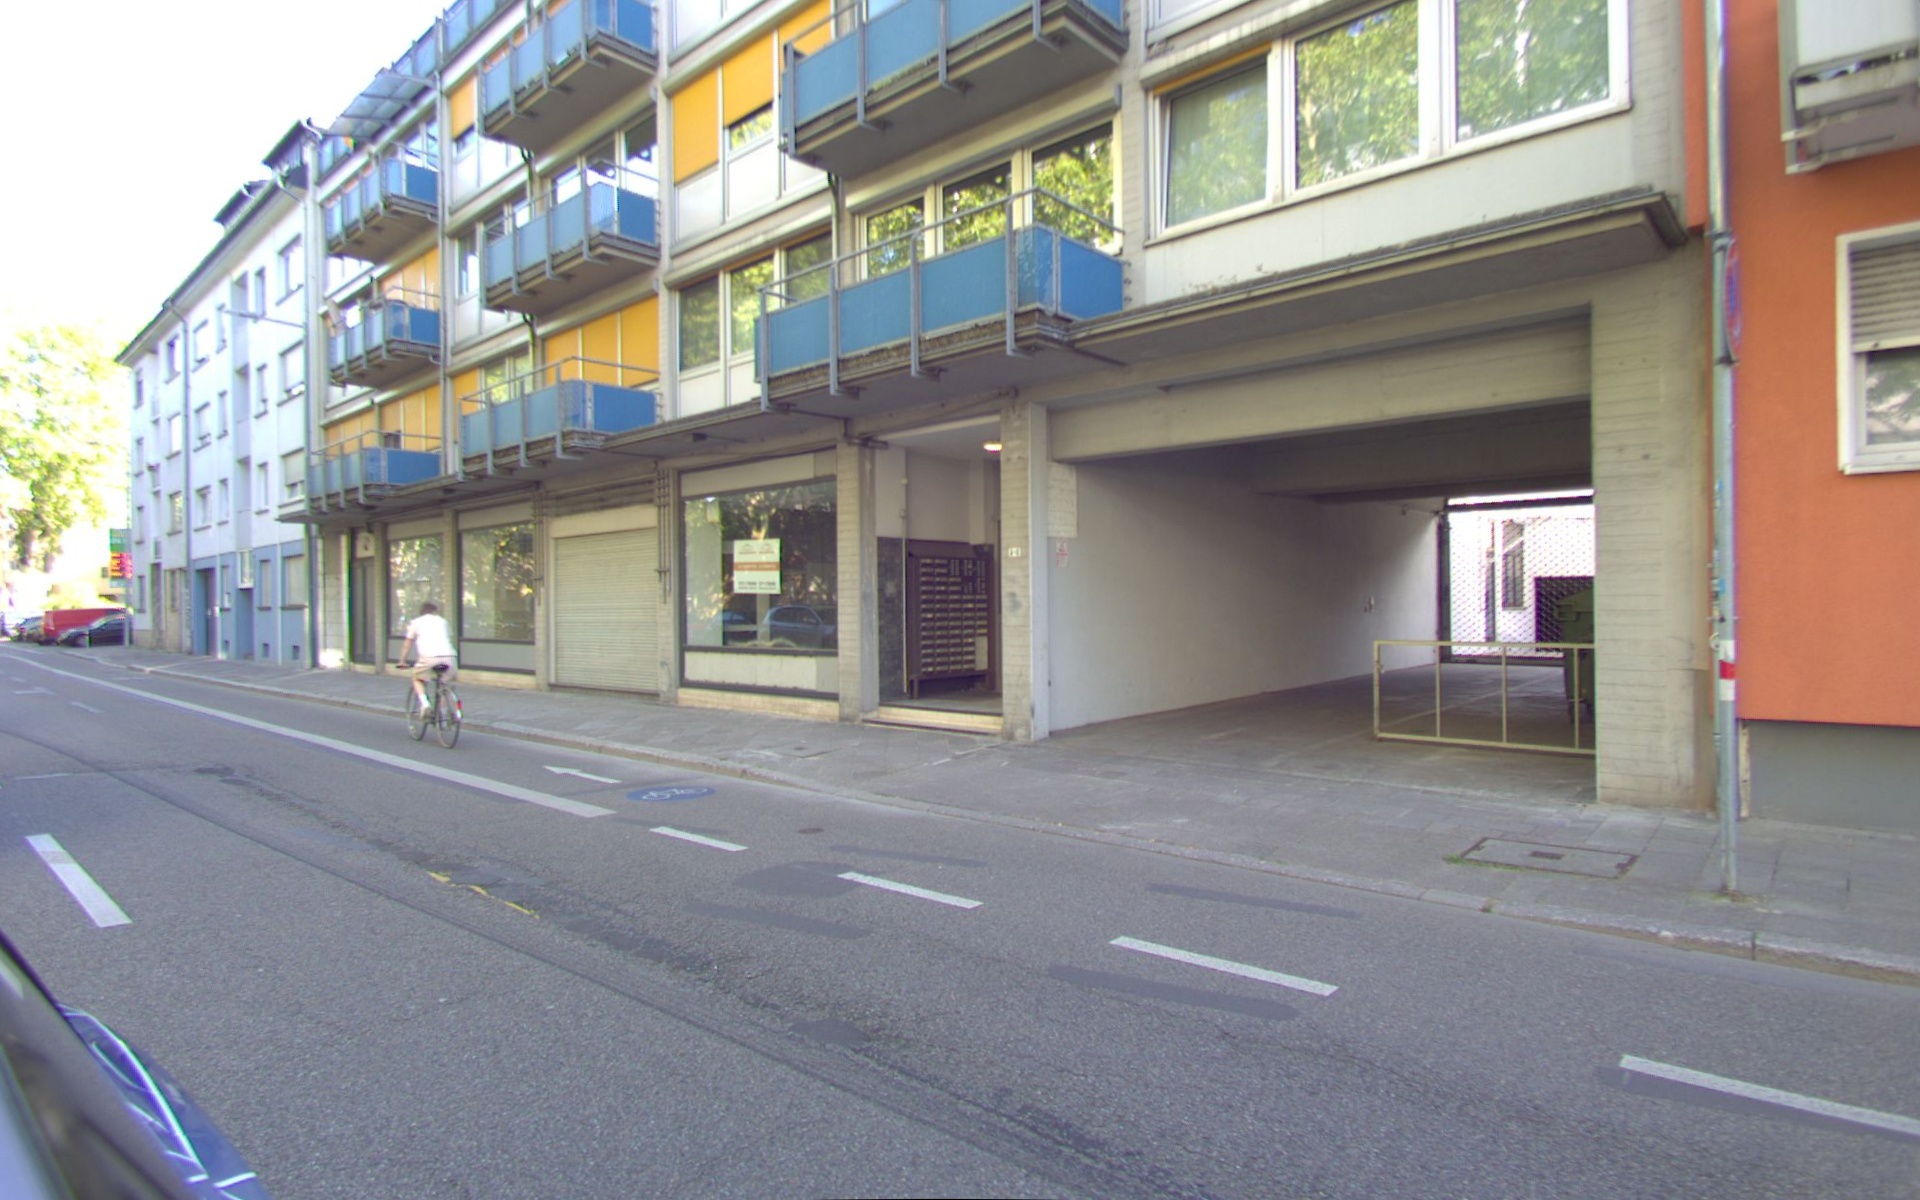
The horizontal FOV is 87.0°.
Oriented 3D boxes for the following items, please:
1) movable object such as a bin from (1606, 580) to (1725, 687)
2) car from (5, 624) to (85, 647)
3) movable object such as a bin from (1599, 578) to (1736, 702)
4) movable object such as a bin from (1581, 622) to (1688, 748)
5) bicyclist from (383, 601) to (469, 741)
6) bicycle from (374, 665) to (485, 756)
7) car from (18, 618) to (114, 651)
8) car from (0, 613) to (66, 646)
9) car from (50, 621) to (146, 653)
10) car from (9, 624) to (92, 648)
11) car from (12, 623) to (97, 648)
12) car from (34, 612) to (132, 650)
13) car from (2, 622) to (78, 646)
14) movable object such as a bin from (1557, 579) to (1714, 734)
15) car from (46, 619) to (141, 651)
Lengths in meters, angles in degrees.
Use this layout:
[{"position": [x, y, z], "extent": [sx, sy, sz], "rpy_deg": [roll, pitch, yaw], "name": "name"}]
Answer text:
[{"position": [10.544, 0.473, 15.124], "extent": [1.281, 1.497, 1.146], "rpy_deg": [-1, 0, 44], "name": "movable object such as a bin"}, {"position": [-60.689, 2.322, 67.175], "extent": [1.526, 1.343, 3.854], "rpy_deg": [-1, 0, 43], "name": "car"}, {"position": [9.147, 0.484, 13.086], "extent": [1.281, 1.497, 1.146], "rpy_deg": [-1, 0, 44], "name": "movable object such as a bin"}, {"position": [6.062, 0.738, 9.095], "extent": [0.703, 1.055, 0.563], "rpy_deg": [-1, 0, 44], "name": "movable object such as a bin"}, {"position": [-6.315, 0.807, 11.967], "extent": [0.806, 1.570, 0.641], "rpy_deg": [-1, 0, 42], "name": "bicyclist"}, {"position": [-6.279, 1.265, 11.935], "extent": [1.867, 0.898, 0.542], "rpy_deg": [-1, 0, 42], "name": "bicycle"}, {"position": [-49.752, 1.891, 56.370], "extent": [1.604, 1.598, 3.854], "rpy_deg": [-1, 0, 43], "name": "car"}, {"position": [-66.135, 2.099, 71.863], "extent": [1.725, 2.193, 3.854], "rpy_deg": [-1, 0, 43], "name": "car"}, {"position": [-43.586, 1.845, 51.203], "extent": [1.534, 1.420, 3.550], "rpy_deg": [-2, 0, 43], "name": "car"}, {"position": [-58.911, 2.296, 65.580], "extent": [1.526, 1.343, 3.854], "rpy_deg": [-1, 0, 43], "name": "car"}, {"position": [-56.930, 2.233, 63.664], "extent": [1.595, 1.385, 3.854], "rpy_deg": [-1, 0, 43], "name": "car"}, {"position": [-47.434, 1.669, 54.787], "extent": [1.749, 1.921, 3.853], "rpy_deg": [-2, -1, 43], "name": "car"}, {"position": [-62.687, 2.314, 68.970], "extent": [1.539, 1.451, 3.732], "rpy_deg": [-1, 0, 43], "name": "car"}, {"position": [7.004, 0.531, 10.486], "extent": [1.143, 1.476, 1.246], "rpy_deg": [-1, 0, 44], "name": "movable object such as a bin"}, {"position": [-45.273, 1.801, 52.930], "extent": [1.602, 1.521, 3.619], "rpy_deg": [-1, 0, 43], "name": "car"}]
